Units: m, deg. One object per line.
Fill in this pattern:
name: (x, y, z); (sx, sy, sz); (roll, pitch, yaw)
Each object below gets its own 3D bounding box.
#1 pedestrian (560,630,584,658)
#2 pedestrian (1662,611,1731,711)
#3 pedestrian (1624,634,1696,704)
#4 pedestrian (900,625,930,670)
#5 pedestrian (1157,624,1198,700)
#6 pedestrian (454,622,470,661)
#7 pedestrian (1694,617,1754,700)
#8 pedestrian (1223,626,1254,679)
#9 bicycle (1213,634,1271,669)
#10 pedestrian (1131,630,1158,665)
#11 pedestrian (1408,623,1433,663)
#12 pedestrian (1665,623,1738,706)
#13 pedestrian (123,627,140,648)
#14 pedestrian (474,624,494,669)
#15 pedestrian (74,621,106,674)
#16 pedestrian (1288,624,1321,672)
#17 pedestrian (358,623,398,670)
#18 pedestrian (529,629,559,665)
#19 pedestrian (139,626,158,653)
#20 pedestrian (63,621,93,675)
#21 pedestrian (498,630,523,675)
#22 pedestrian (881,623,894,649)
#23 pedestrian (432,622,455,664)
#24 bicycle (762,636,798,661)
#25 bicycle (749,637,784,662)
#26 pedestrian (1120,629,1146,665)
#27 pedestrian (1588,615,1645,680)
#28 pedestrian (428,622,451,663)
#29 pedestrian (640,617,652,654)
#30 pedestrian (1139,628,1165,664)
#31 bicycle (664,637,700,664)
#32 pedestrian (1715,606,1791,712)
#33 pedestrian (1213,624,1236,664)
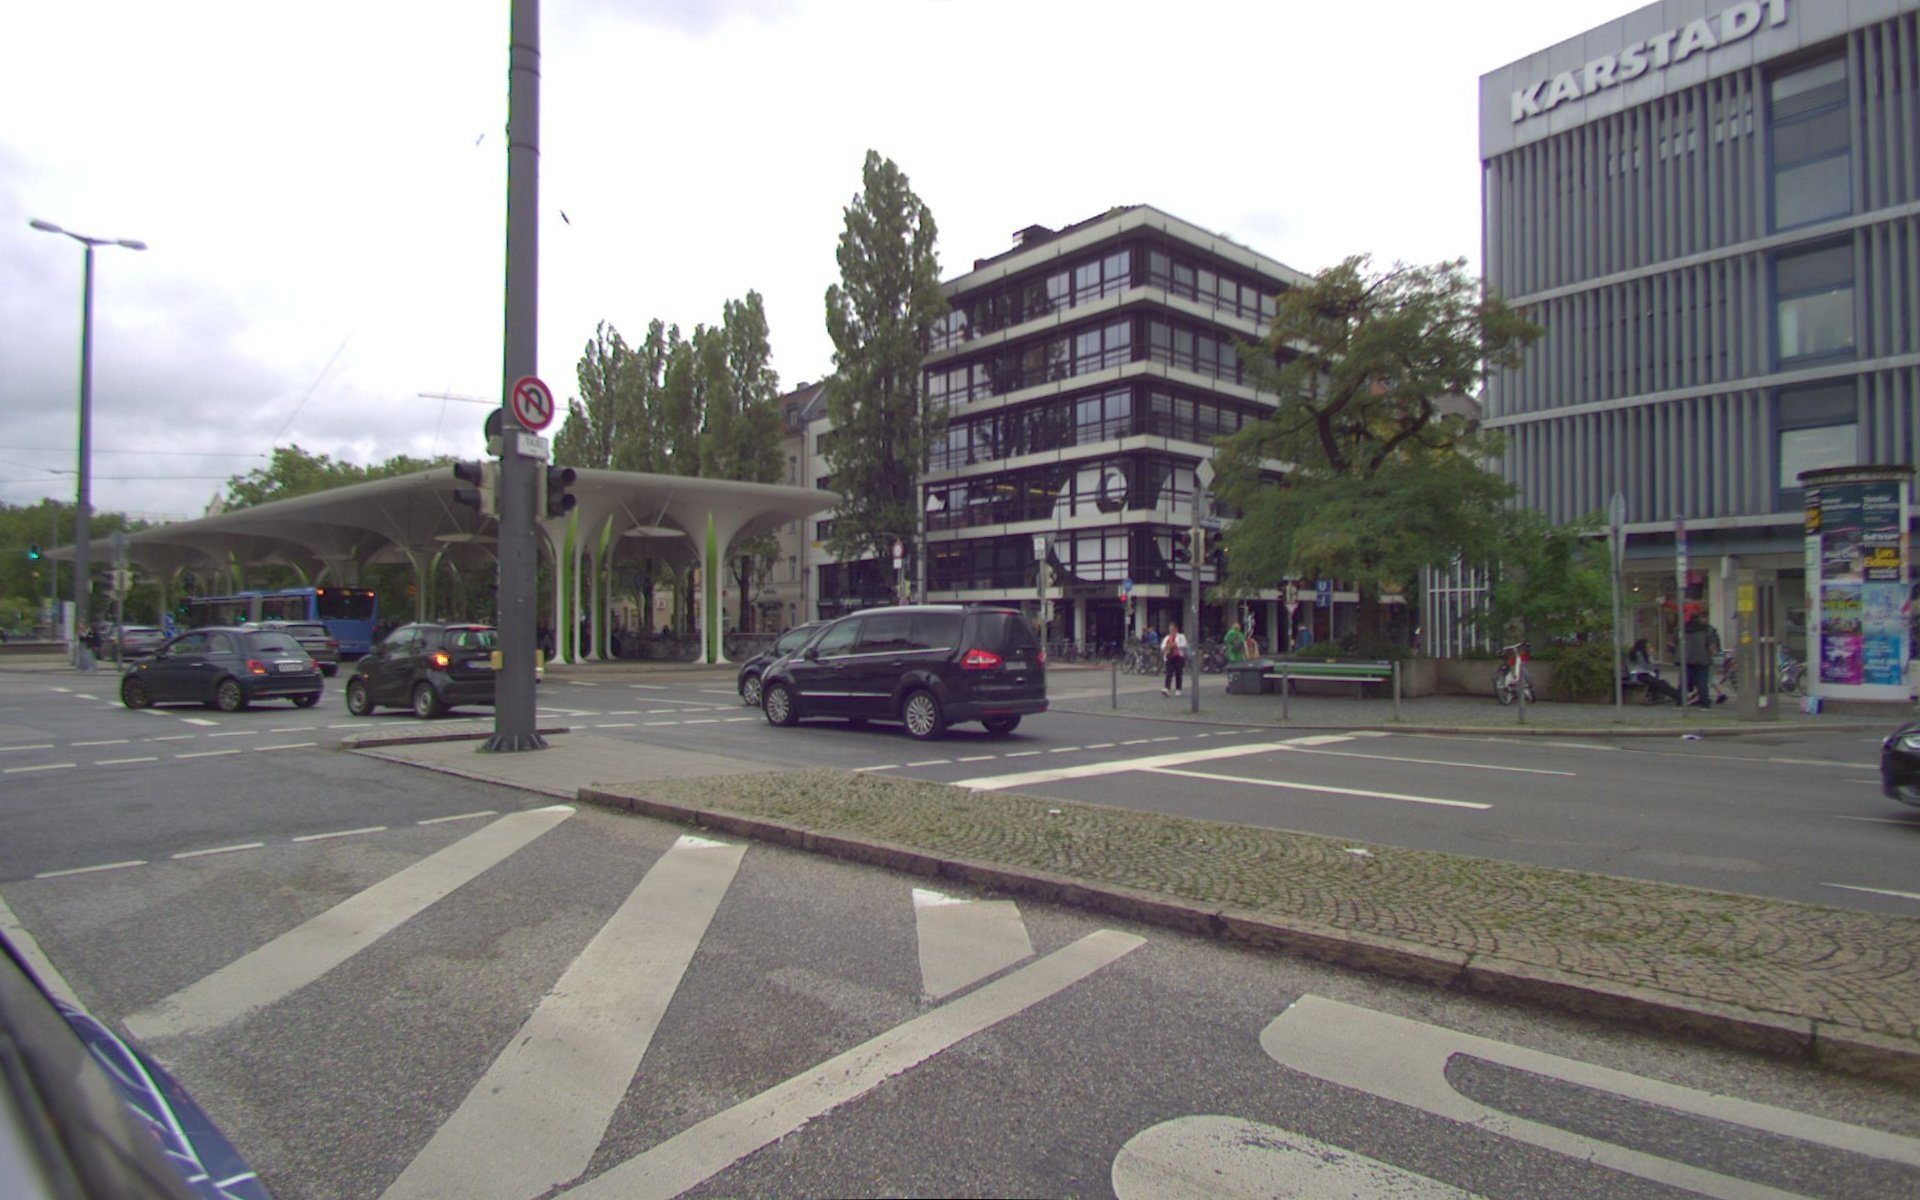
pedestrian: (-18.341, 2.081, 47.849); (0.866, 1.327, 0.839); (0, -1, -4)
pedestrian: (12.688, 1.027, 17.443); (0.760, 1.666, 0.753); (1, -2, -39)
pedestrian: (13.212, 1.287, 19.106); (1.044, 1.285, 0.539); (-2, -2, 41)
pedestrian: (-1.683, 1.779, 37.894); (0.790, 1.654, 0.845); (-2, -2, 45)
pedestrian: (4.703, 1.323, 21.857); (0.717, 1.586, 0.634); (-1, -2, 26)
pedestrian: (-20.738, 1.725, 42.162); (0.511, 1.600, 0.482); (0, -2, -19)
pedestrian: (14.788, 1.124, 19.606); (0.747, 1.566, 0.766); (-1, -2, 25)
pedestrian: (8.775, 1.646, 31.920); (0.805, 1.631, 0.834); (-1, -2, 25)
bicycle: (9.813, 1.791, 35.247); (1.893, 1.119, 0.578); (1, -1, 41)
pedestrian: (8.563, 2.189, 46.991); (0.730, 1.600, 0.951); (1, -2, -38)
pedestrian: (16.875, 1.574, 37.051); (0.583, 1.423, 0.611); (1, -2, -38)
pedestrian: (13.792, 1.193, 18.845); (0.763, 1.504, 0.750); (-1, -2, 5)
pedestrian: (-67.142, 3.042, 82.012); (0.737, 1.641, 0.734); (-1, -2, 19)
pedestrian: (-18.739, 1.830, 39.848); (0.540, 1.733, 0.616); (1, -2, -42)
pedestrian: (-26.678, 1.456, 31.050); (0.551, 1.631, 0.487); (0, -2, 6)
pedestrian: (12.296, 1.708, 36.106); (0.862, 1.700, 0.778); (-2, -2, 40)
pedestrian: (-21.639, 1.719, 37.651); (0.833, 1.694, 0.969); (-1, -2, 12)
pedestrian: (-17.389, 1.950, 42.288); (1.008, 1.464, 0.856); (1, -2, -34)
pedestrian: (-57.028, 2.784, 71.129); (0.801, 1.853, 0.664); (-1, -2, 10)
pedestrian: (-27.083, 1.468, 31.080); (0.514, 1.631, 0.464); (0, -2, -6)
pedestrian: (-18.304, 2.121, 41.202); (0.793, 1.831, 0.707); (1, -2, -35)
pedestrian: (-4.528, 2.217, 62.954); (0.584, 1.604, 0.675); (0, -2, -24)
pedestrian: (-21.086, 1.760, 41.338); (0.735, 1.687, 0.633); (0, -1, -17)
bicycle: (-8.377, 2.250, 47.063); (0.645, 1.127, 2.186); (1, -2, -40)
bicycle: (-8.929, 2.268, 46.630); (0.645, 1.127, 2.186); (1, -2, -40)
pedestrian: (7.959, 2.156, 46.622); (0.777, 1.654, 0.860); (1, -2, -38)
pedestrian: (16.532, 1.176, 25.497); (0.786, 1.593, 0.979); (1, -2, -39)
pedestrian: (-21.790, 1.770, 42.343); (0.693, 1.724, 0.759); (0, -2, -14)
pedestrian: (-16.348, 1.847, 52.749); (0.418, 1.947, 0.481); (-1, -2, 12)
pedestrian: (9.036, 2.168, 47.613); (0.789, 1.666, 0.854); (1, -2, -38)
bicycle: (-12.089, 2.174, 43.979); (0.633, 1.133, 2.169); (1, -2, -40)
pedestrian: (13.727, 1.001, 17.542); (0.766, 1.787, 0.747); (-1, -2, 17)
pedestrian: (13.865, 2.291, 53.062); (0.904, 2.029, 0.836); (1, -2, -45)
